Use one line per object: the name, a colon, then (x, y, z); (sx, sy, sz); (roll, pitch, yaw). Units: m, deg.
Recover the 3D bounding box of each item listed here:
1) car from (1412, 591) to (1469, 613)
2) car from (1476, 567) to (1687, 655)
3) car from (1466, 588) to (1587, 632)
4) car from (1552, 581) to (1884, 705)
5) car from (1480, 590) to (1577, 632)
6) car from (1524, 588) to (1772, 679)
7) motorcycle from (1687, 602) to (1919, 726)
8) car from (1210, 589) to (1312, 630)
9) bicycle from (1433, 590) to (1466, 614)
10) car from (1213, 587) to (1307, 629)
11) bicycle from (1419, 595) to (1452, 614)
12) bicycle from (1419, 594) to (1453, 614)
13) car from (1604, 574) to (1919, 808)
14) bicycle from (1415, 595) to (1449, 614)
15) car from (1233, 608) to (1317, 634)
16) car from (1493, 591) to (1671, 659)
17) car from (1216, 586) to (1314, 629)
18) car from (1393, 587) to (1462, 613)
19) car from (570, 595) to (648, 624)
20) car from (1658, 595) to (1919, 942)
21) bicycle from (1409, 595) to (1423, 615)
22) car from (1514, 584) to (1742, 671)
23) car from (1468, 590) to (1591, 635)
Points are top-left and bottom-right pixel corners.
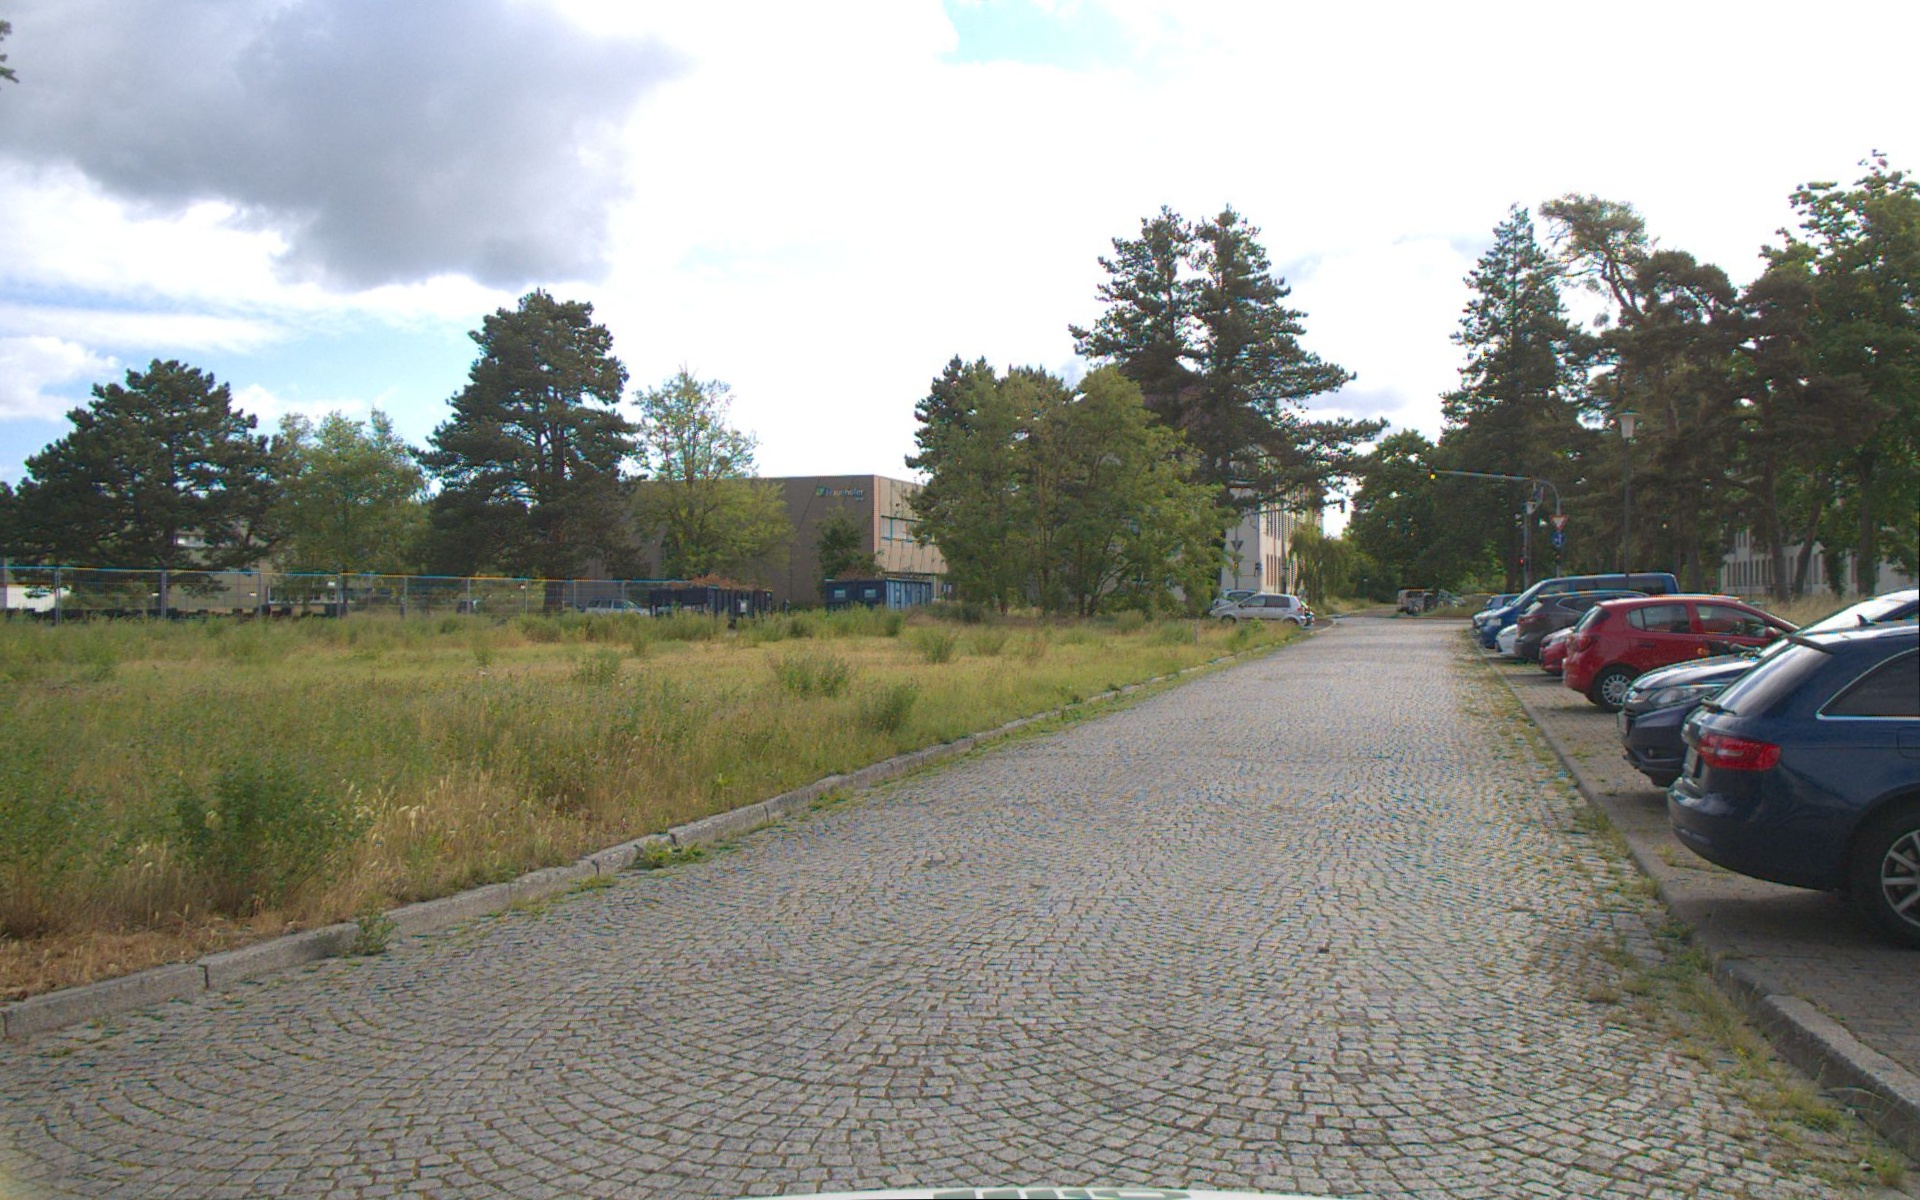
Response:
car: (36.411, 0.125, 125.399); (3.902, 1.673, 2.002); (0, 0, 10)
car: (15.165, 0.277, 40.596); (4.680, 2.075, 1.739); (0, 0, 14)
car: (20.863, 0.364, 61.029); (4.034, 1.570, 1.665); (0, 0, 11)
car: (9.999, 0.559, 22.098); (3.758, 1.532, 1.739); (-1, 0, 15)
car: (21.782, 0.413, 63.440); (3.316, 1.570, 1.392); (0, 0, 11)
car: (12.157, 0.570, 29.482); (3.902, 1.545, 1.739); (0, 0, 16)
motorcycle: (9.082, 0.685, 17.784); (2.216, 1.297, 0.606); (-1, 0, 11)
car: (11.916, 0.366, 65.508); (3.901, 1.579, 2.002); (0, 0, 10)
bicycle: (33.284, 0.121, 112.499); (2.114, 1.644, 0.813); (0, 0, 10)
car: (12.849, 0.328, 70.965); (3.902, 1.780, 1.929); (0, 0, 9)
bicycle: (32.215, 0.278, 112.074); (2.114, 1.290, 0.813); (0, 0, 10)
bicycle: (32.058, 0.273, 111.507); (2.114, 1.290, 0.813); (0, 0, 10)
car: (7.115, 0.615, 12.237); (4.173, 1.601, 1.897); (-2, 0, 16)
bicycle: (32.325, 0.285, 113.307); (2.114, 1.290, 0.813); (0, 0, 10)
car: (13.907, 0.911, 73.043); (3.592, 1.113, 1.648); (0, 0, 10)
car: (14.297, 0.574, 38.213); (3.643, 1.449, 1.656); (-2, 0, 14)
car: (12.539, 0.299, 68.003); (3.901, 1.736, 2.002); (0, 0, 10)
car: (36.401, 0.001, 128.822); (4.943, 2.049, 2.001); (0, 0, 6)
car: (-19.744, 0.523, 93.058); (3.902, 1.580, 1.810); (0, 0, 16)
car: (5.722, 0.704, 7.690); (4.411, 1.490, 1.896); (-2, 0, 20)
bicycle: (29.851, 0.325, 108.237); (0.793, 1.290, 1.974); (0, 0, 17)
car: (12.757, 0.502, 31.826); (3.866, 1.608, 1.763); (0, 0, 15)
car: (20.037, 0.435, 58.331); (3.901, 1.570, 1.665); (0, 0, 11)
